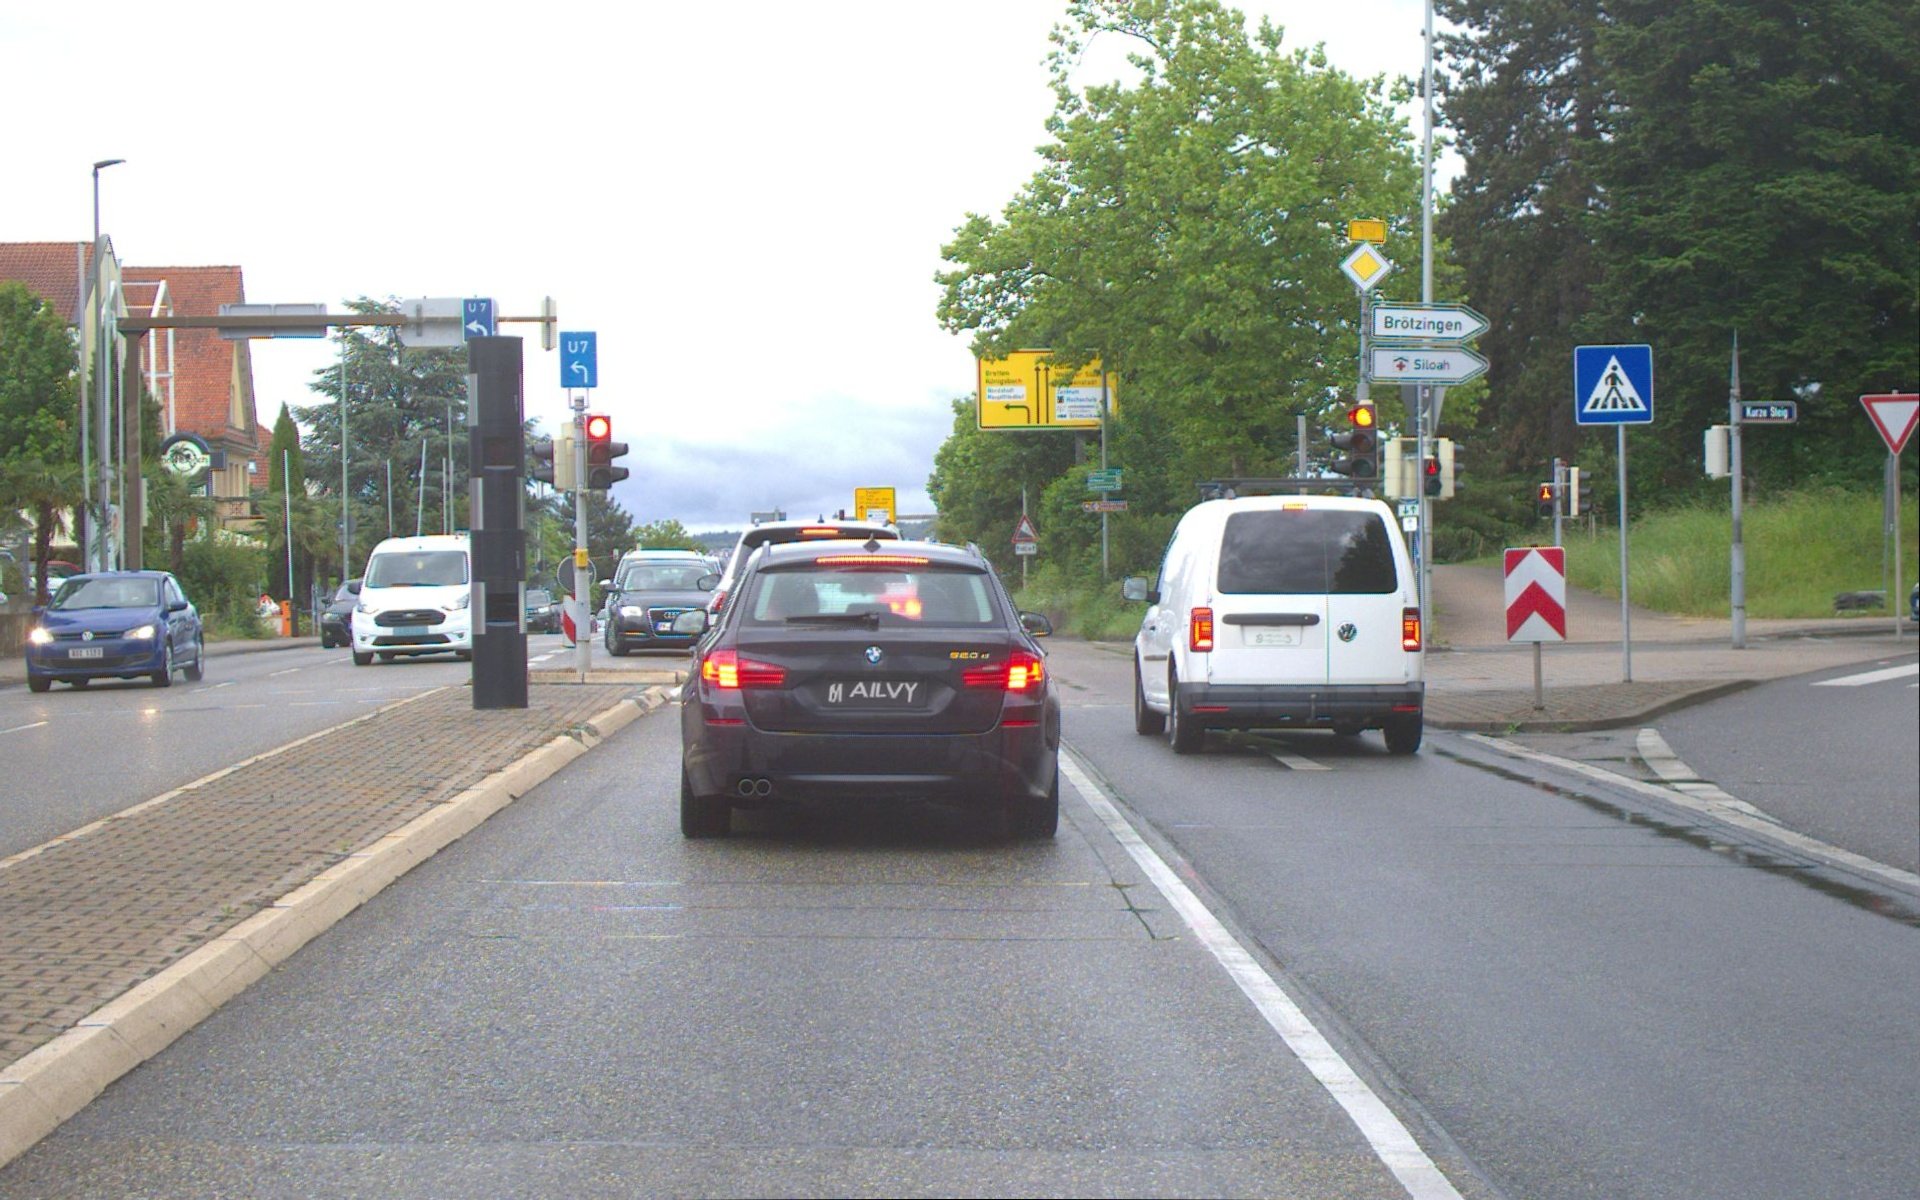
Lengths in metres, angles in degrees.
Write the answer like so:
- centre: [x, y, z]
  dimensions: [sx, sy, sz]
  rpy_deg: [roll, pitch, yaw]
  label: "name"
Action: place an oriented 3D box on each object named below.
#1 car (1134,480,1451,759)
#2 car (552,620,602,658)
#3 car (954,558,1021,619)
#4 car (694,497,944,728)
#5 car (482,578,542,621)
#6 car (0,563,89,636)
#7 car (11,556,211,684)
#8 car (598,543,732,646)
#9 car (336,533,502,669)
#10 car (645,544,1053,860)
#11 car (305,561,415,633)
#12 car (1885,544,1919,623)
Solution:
- centre: [2.340, 0.083, 25.145]
  dimensions: [1.741, 1.863, 3.946]
  rpy_deg: [1, 1, -3]
  label: "car"
- centre: [-14.853, 1.505, 133.456]
  dimensions: [1.667, 1.349, 3.443]
  rpy_deg: [-1, 1, -2]
  label: "car"
- centre: [0.670, -0.302, 85.539]
  dimensions: [1.600, 1.367, 3.680]
  rpy_deg: [-1, 2, 0]
  label: "car"
- centre: [-1.063, 0.056, 27.348]
  dimensions: [1.728, 1.705, 3.382]
  rpy_deg: [1, 1, 2]
  label: "car"
- centre: [-15.039, -0.040, 115.424]
  dimensions: [1.667, 1.349, 3.443]
  rpy_deg: [-1, 1, -2]
  label: "car"
- centre: [-20.160, -0.001, 70.371]
  dimensions: [4.193, 1.451, 1.801]
  rpy_deg: [-1, 1, -29]
  label: "car"
- centre: [-10.398, 0.211, 42.325]
  dimensions: [1.634, 1.377, 3.766]
  rpy_deg: [-2, 2, -3]
  label: "car"
- centre: [-4.391, -0.101, 51.253]
  dimensions: [1.894, 1.451, 4.098]
  rpy_deg: [-1, 1, -5]
  label: "car"
- centre: [-7.857, -0.016, 50.287]
  dimensions: [1.857, 1.817, 4.580]
  rpy_deg: [-2, 1, -3]
  label: "car"
- centre: [-0.473, 0.433, 17.734]
  dimensions: [1.855, 1.414, 3.957]
  rpy_deg: [1, 1, 1]
  label: "car"
- centre: [-12.350, -0.083, 70.922]
  dimensions: [1.667, 1.377, 4.072]
  rpy_deg: [-1, 1, -2]
  label: "car"
- centre: [17.873, -0.348, 58.299]
  dimensions: [3.986, 1.289, 1.609]
  rpy_deg: [-2, 2, -19]
  label: "car"
